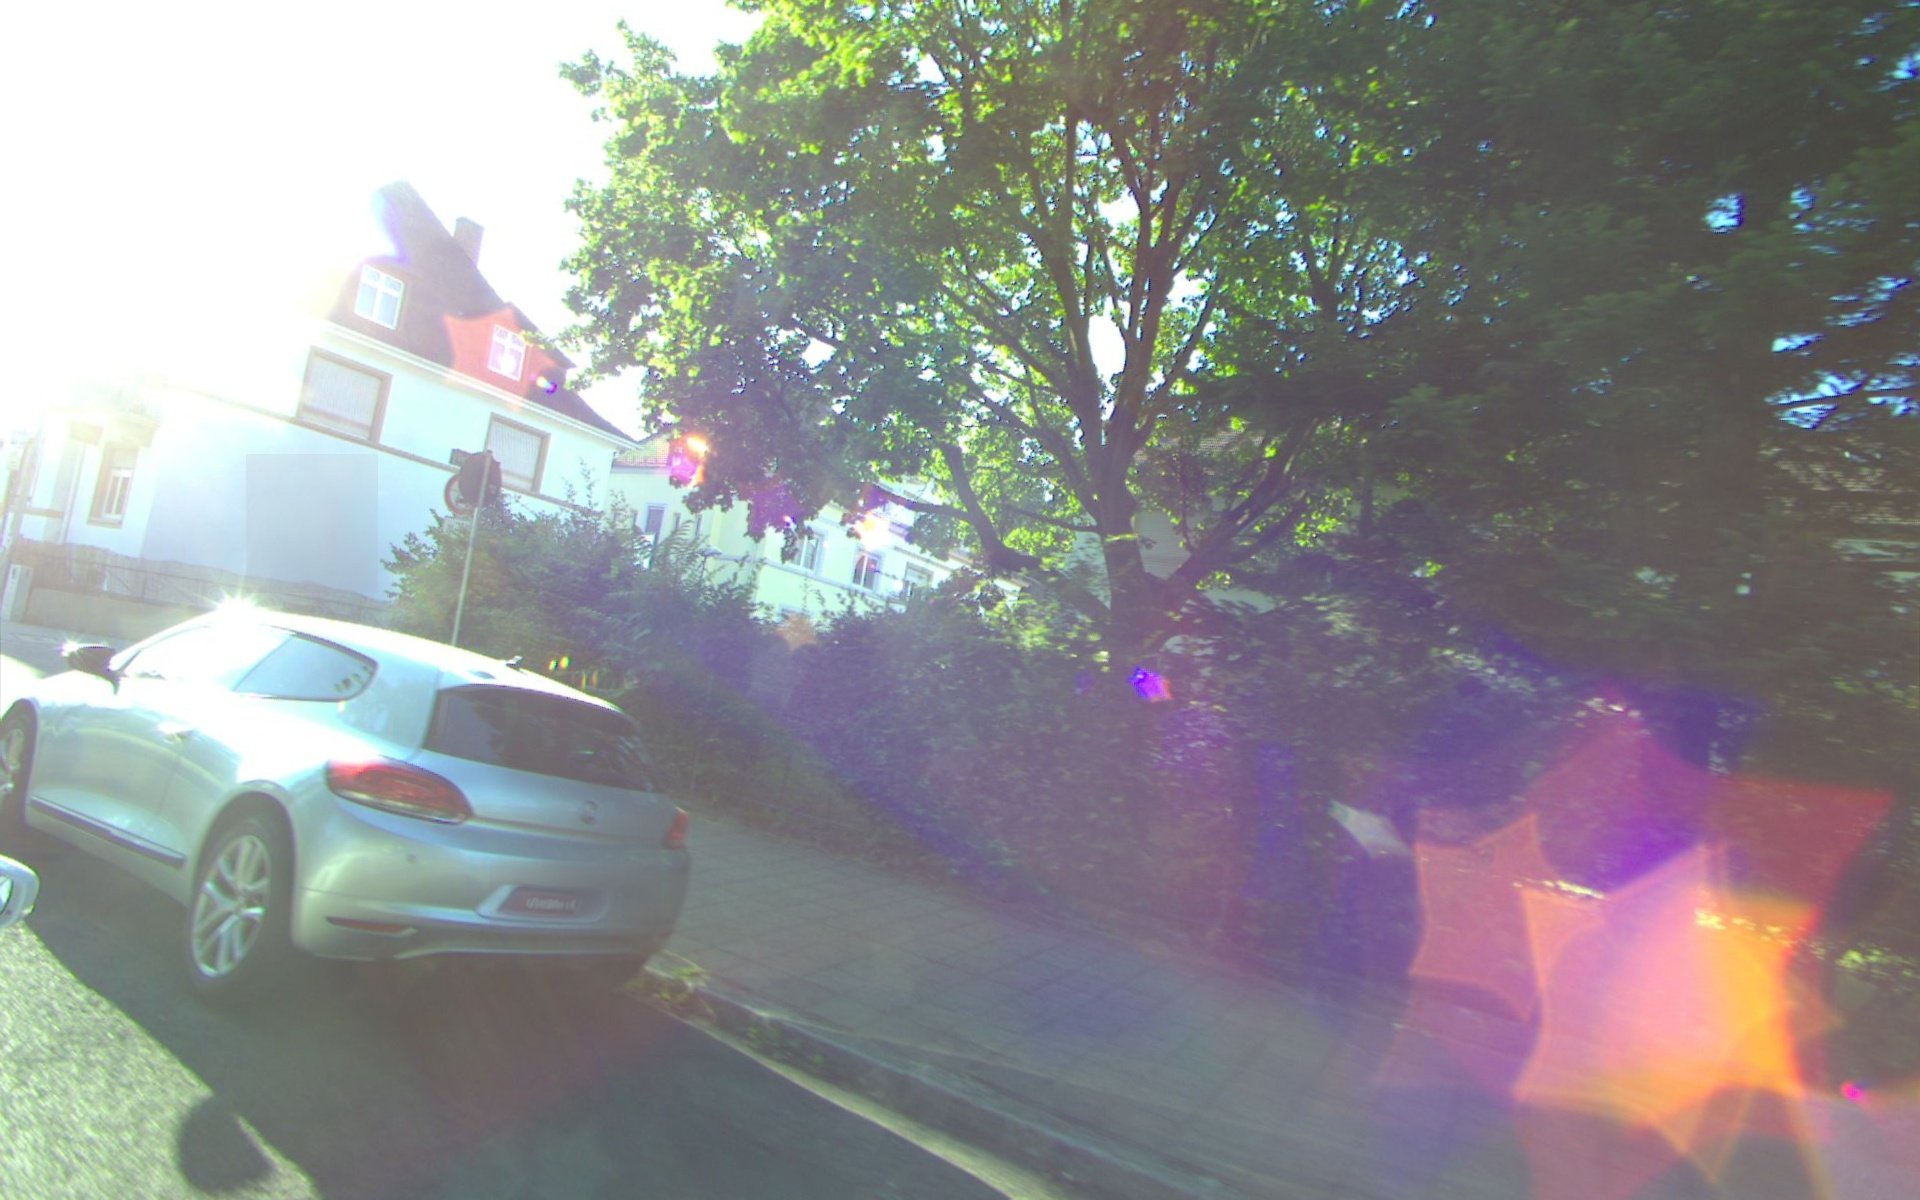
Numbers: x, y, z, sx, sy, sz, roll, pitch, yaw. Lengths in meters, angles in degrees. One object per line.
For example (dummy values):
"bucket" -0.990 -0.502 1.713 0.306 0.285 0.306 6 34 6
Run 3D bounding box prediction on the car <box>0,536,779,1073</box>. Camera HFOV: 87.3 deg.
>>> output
"car" -3.109 0.776 4.955 4.005 1.429 1.769 7 -11 32
